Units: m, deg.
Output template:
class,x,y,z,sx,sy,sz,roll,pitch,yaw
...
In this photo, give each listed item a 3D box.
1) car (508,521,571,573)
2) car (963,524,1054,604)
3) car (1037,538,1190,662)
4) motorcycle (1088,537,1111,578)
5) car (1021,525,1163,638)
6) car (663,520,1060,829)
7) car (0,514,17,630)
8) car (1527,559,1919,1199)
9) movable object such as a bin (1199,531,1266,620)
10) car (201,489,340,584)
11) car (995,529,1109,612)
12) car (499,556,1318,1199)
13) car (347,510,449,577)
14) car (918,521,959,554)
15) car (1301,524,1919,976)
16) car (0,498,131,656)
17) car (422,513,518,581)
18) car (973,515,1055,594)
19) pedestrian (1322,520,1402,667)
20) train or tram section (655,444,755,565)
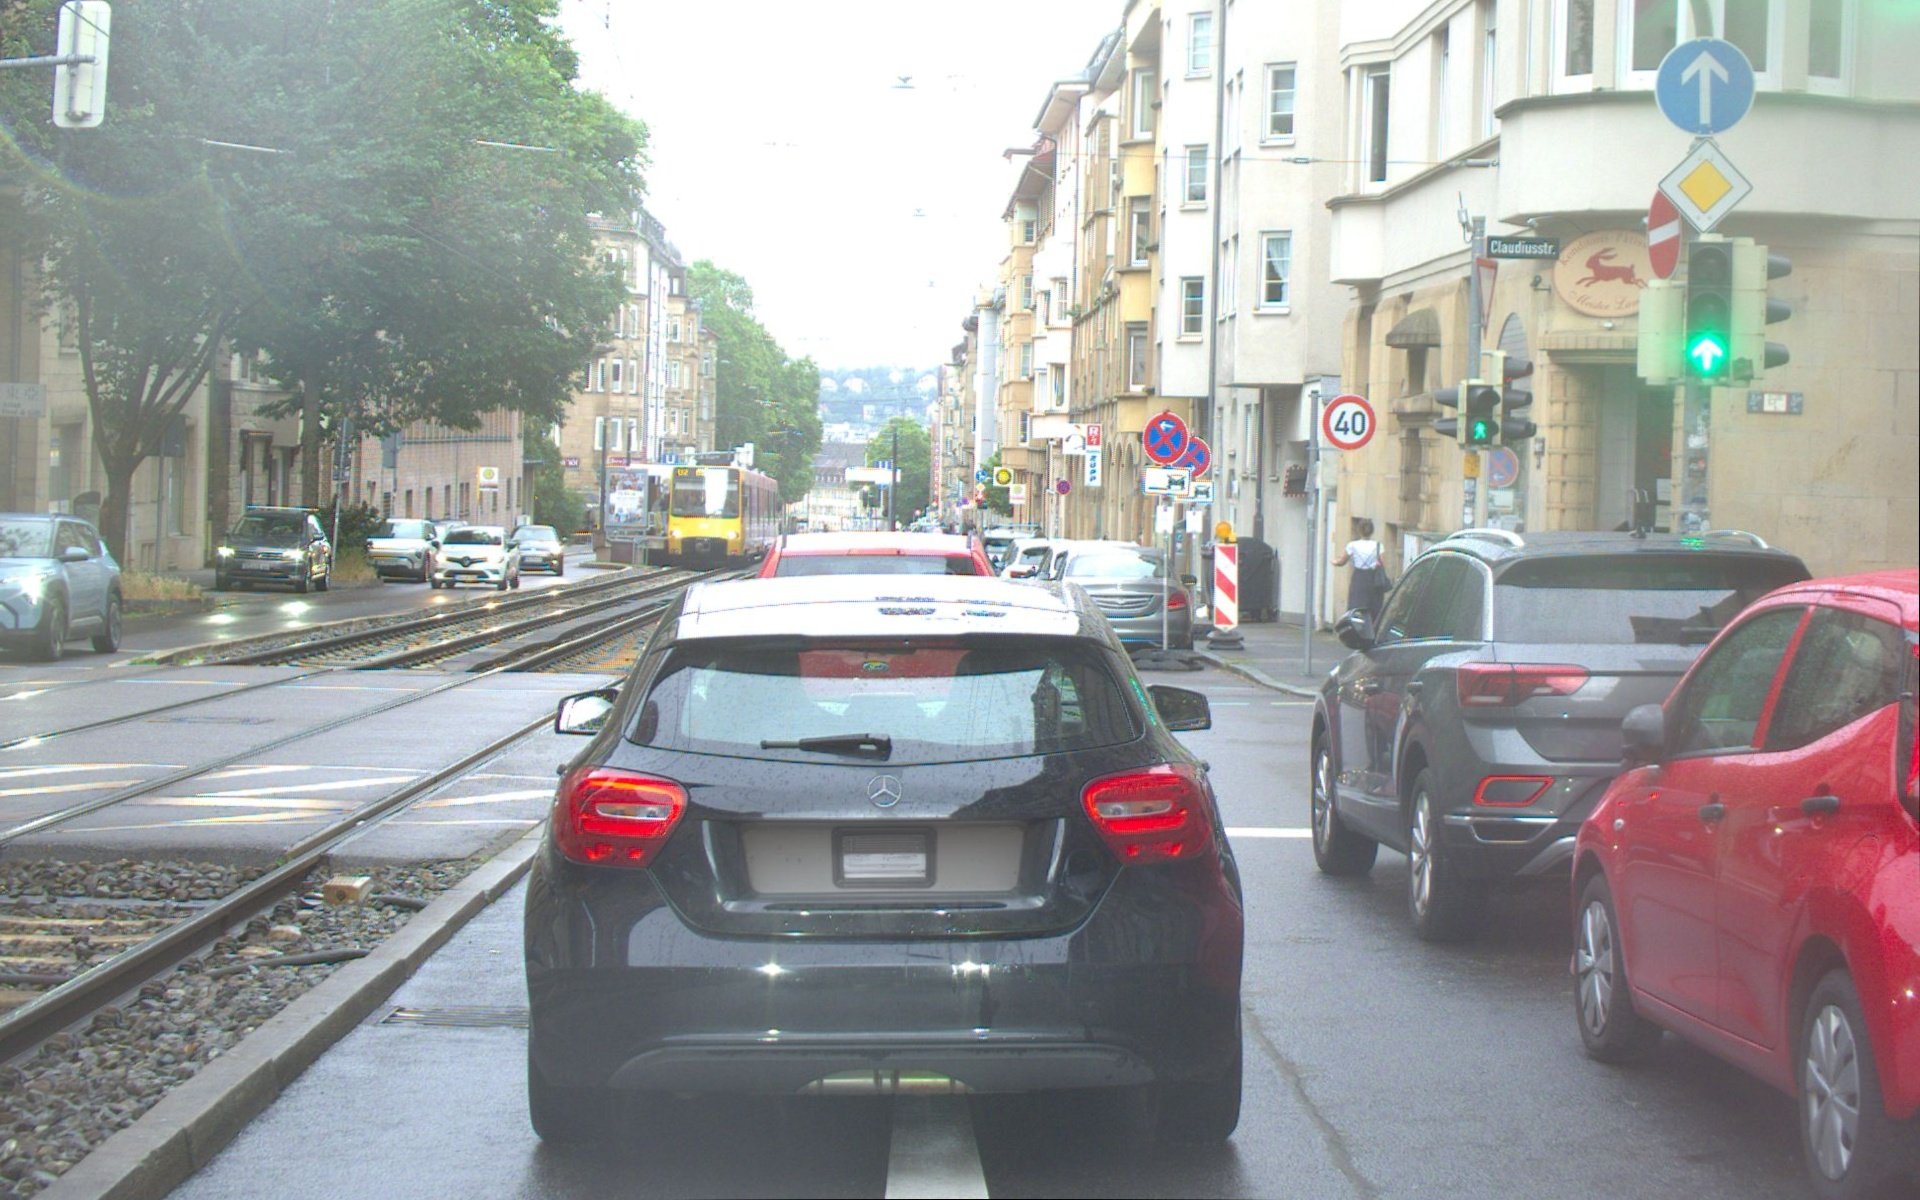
class,x,y,z,sx,sy,sz,roll,pitch,yaw
car,-11.990,-1.536,98.248,1.653,1.457,3.735,0,1,-5
car,1.044,-0.759,73.001,1.841,1.602,4.760,1,0,1
car,1.820,-0.017,41.989,1.711,1.405,4.817,1,0,1
motorcycle,4.129,-1.281,101.940,0.556,1.156,2.269,-3,1,1
car,1.783,-0.261,47.544,1.712,1.463,4.774,1,0,-1
car,-0.531,0.348,19.767,1.993,1.520,4.246,2,1,-1
car,-13.438,-0.371,44.052,1.689,1.524,4.176,1,0,-2
car,2.720,0.655,8.880,1.705,1.448,3.533,2,1,-3
movable object such as a bin,4.613,-0.417,58.216,0.980,1.463,1.273,1,0,-1
car,-14.056,-1.316,70.349,1.953,1.736,4.780,4,1,-2
car,1.581,-0.513,60.414,1.789,1.381,4.395,1,0,-1
car,-0.141,0.622,9.764,1.834,1.448,3.902,1,1,-1
car,-14.301,-1.464,87.678,1.961,1.600,4.329,2,1,-2
car,-1.070,-3.117,171.792,1.887,1.520,4.245,2,1,1
car,2.584,0.501,14.152,1.867,1.543,3.991,2,1,-1
car,-10.366,-0.263,37.236,1.921,1.612,4.129,1,0,-2
car,-11.288,-1.217,79.352,1.780,1.497,4.063,1,0,-2
car,1.214,-1.041,79.059,1.778,1.744,4.549,1,0,0
pedestrian,4.669,-0.073,39.953,0.804,1.681,0.754,1,0,-1
train or tram section,-9.110,-3.411,124.557,2.745,4.048,17.216,1,1,-2
